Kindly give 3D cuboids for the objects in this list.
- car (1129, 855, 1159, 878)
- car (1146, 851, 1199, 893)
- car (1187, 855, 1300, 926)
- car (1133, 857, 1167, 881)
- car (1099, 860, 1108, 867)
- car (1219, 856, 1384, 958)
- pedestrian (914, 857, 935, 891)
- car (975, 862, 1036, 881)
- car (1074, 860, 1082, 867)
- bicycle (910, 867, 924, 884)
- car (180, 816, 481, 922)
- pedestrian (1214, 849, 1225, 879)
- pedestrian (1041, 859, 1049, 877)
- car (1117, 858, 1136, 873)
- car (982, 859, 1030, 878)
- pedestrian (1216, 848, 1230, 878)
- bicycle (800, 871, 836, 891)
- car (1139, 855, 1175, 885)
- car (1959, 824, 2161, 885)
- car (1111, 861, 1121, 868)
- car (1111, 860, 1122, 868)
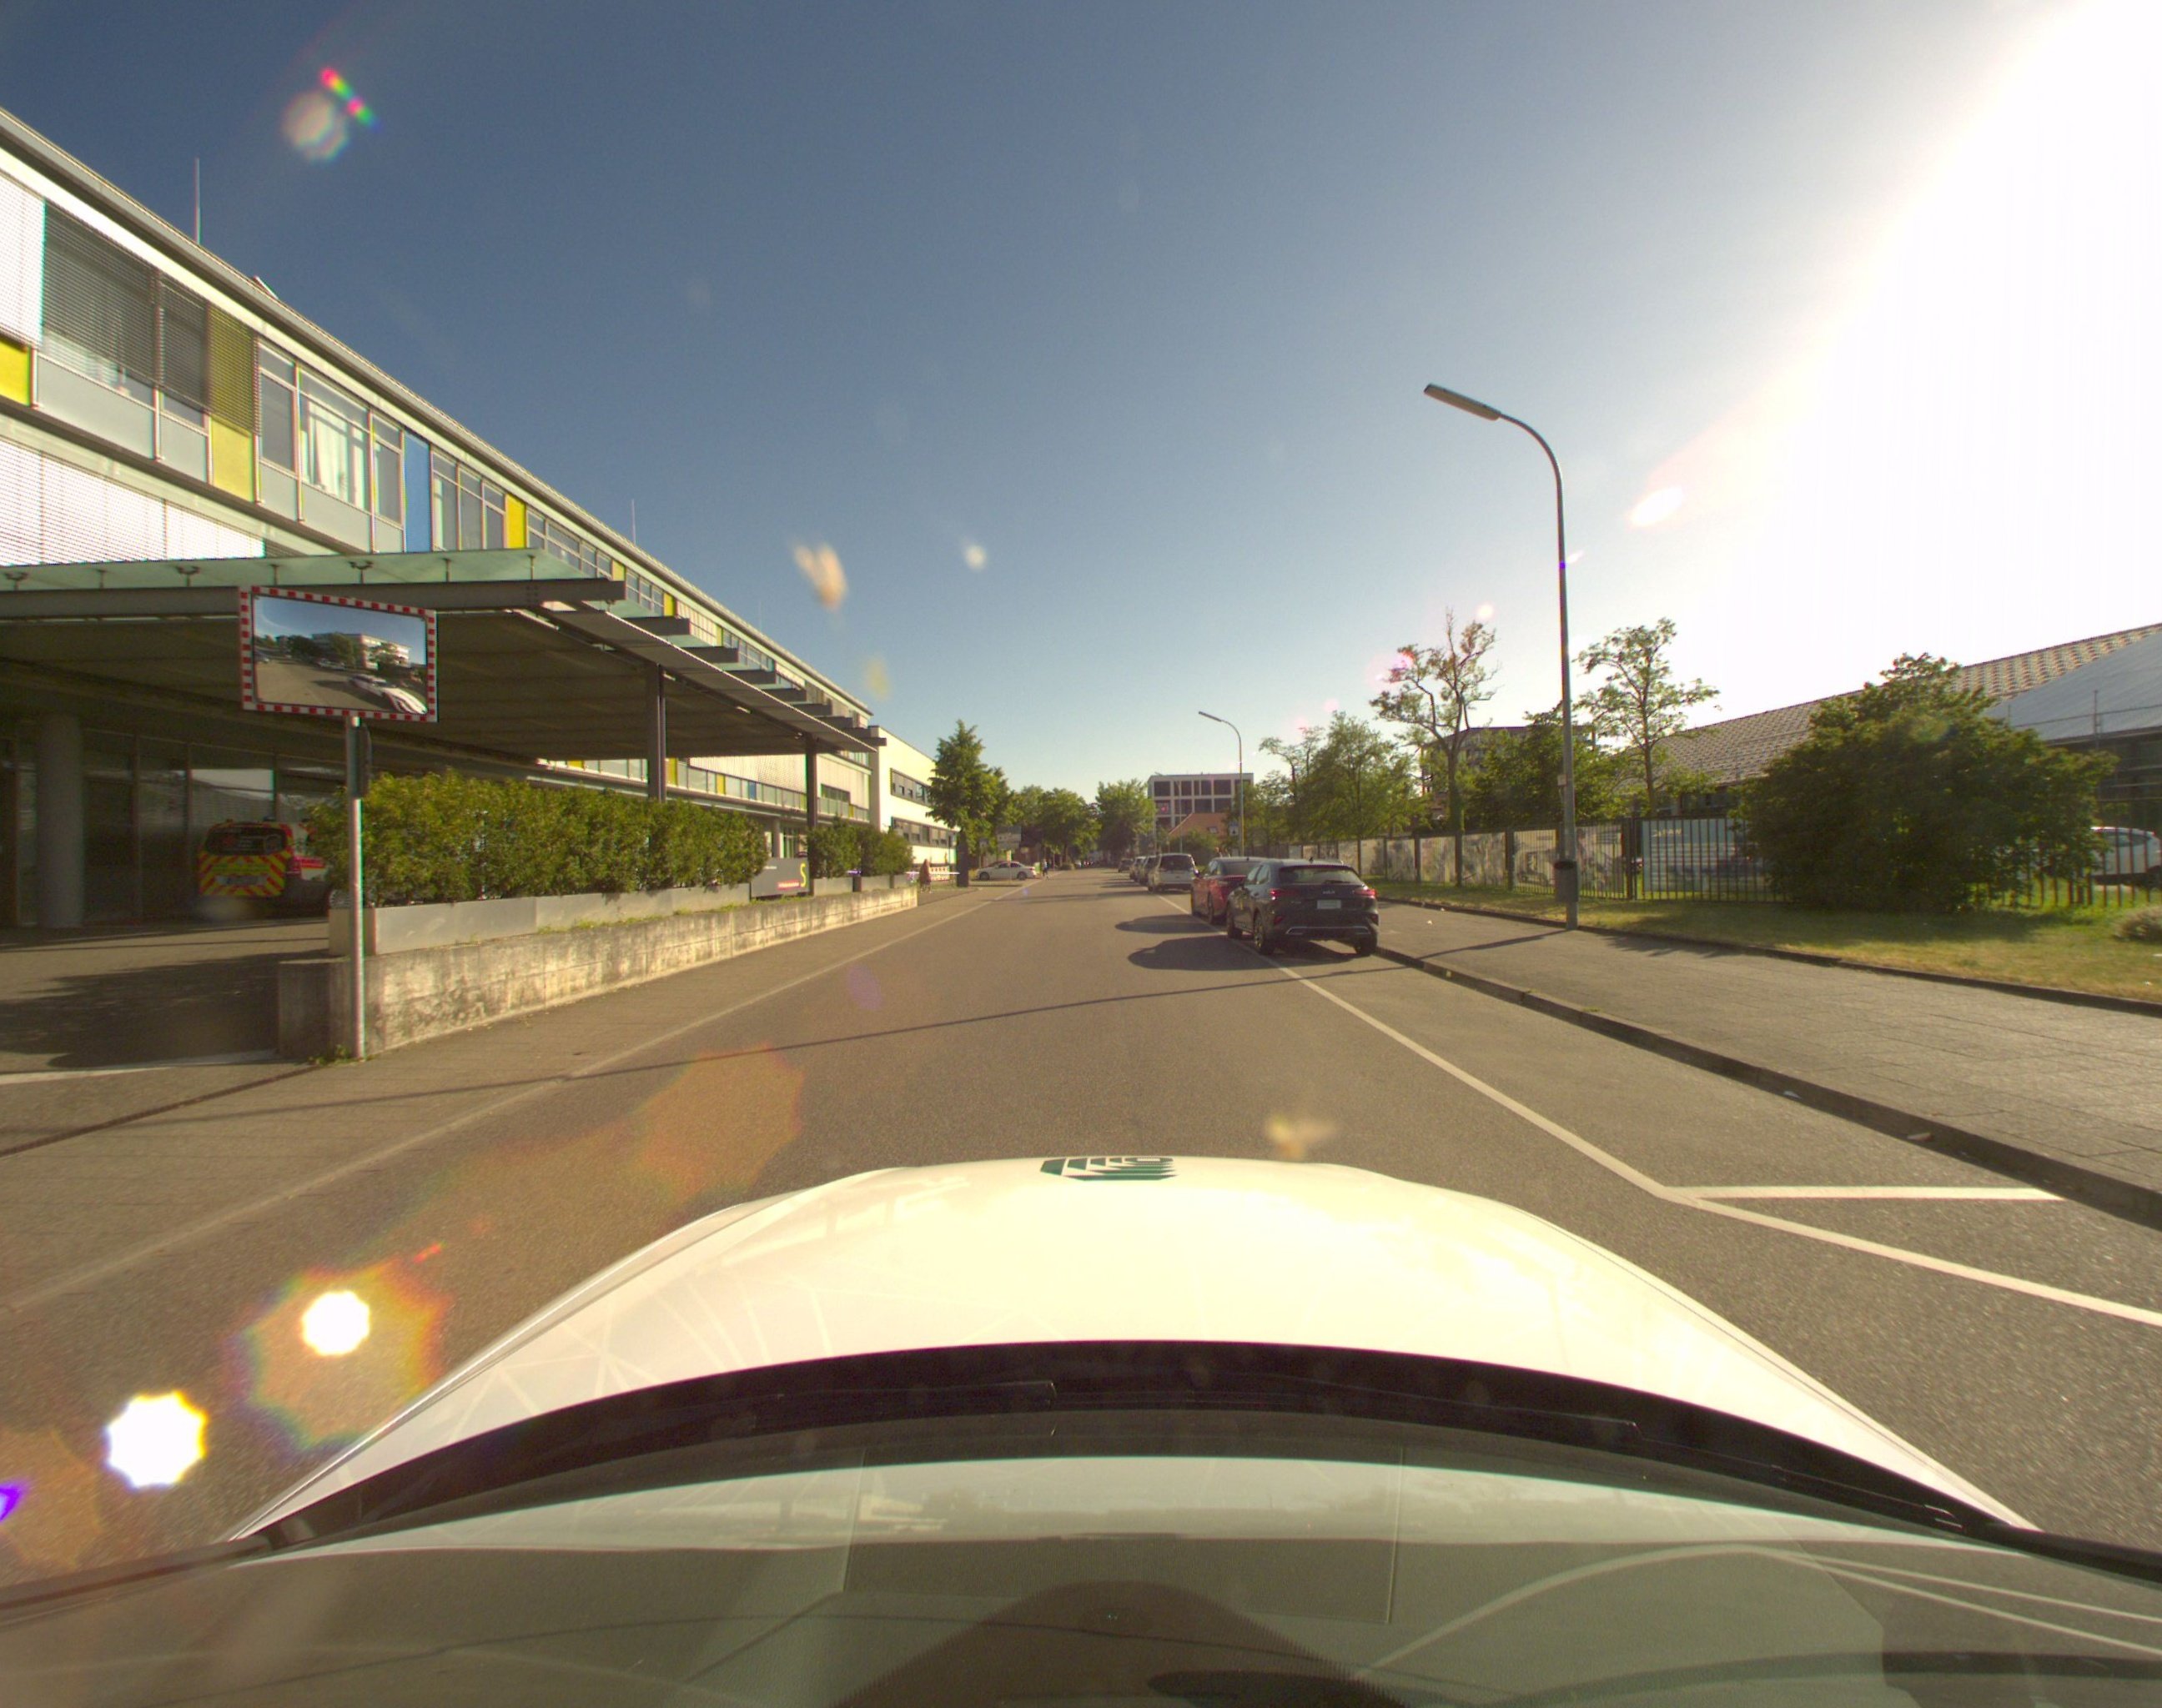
[{"bbox_3d":[4.535,0.906,59.002,1.807,1.588,4.260,0,0,-1],"label":"car"},{"bbox_3d":[3.984,0.748,36.110,1.803,1.722,4.703,0,0,0],"label":"car"},{"bbox_3d":[3.778,0.783,19.768,1.803,1.510,4.721,0,0,0],"label":"car"},{"bbox_3d":[4.308,0.906,51.287,1.696,1.487,3.977,0,0,-2],"label":"car"},{"bbox_3d":[4.620,1.939,166.968,1.761,1.548,4.065,-2,-1,0],"label":"car"},{"bbox_3d":[3.572,0.778,13.985,1.695,1.487,4.214,0,0,0],"label":"car"},{"bbox_3d":[-7.151,0.910,37.171,0.770,1.549,0.780,0,-1,1],"label":"pedestrian"},{"bbox_3d":[-5.666,1.297,61.561,4.503,1.367,1.697,1,-1,-5],"label":"car"},{"bbox_3d":[-0.633,2.118,187.958,1.761,1.487,3.999,-2,-1,0],"label":"car"},{"bbox_3d":[-11.157,1.458,55.507,0.533,1.111,1.860,-2,0,0],"label":"bicycle"},{"bbox_3d":[-15.464,0.279,17.252,1.913,1.891,4.711,-2,0,1],"label":"car"},{"bbox_3d":[7.757,0.559,45.638,0.520,1.708,0.522,0,-1,-2],"label":"pedestrian"},{"bbox_3d":[-3.029,1.154,68.627,0.536,1.524,0.607,-2,0,2],"label":"pedestrian"},{"bbox_3d":[4.824,1.172,86.662,1.811,1.453,4.216,-2,0,2],"label":"car"},{"bbox_3d":[-5.913,1.154,64.267,3.624,1.469,1.613,0,0,-2],"label":"car"},{"bbox_3d":[7.633,0.485,43.813,0.679,1.612,0.540,0,-1,-2],"label":"pedestrian"},{"bbox_3d":[-13.802,1.426,42.762,1.710,0.994,0.536,-2,-1,-1],"label":"bicycle"},{"bbox_3d":[4.186,0.851,45.427,1.694,1.606,4.354,0,0,1],"label":"car"},{"bbox_3d":[25.091,0.004,20.693,3.879,1.379,1.674,-2,0,-3],"label":"car"},{"bbox_3d":[7.600,2.252,176.902,1.943,1.578,3.838,-1,-1,2],"label":"car"},{"bbox_3d":[6.398,1.767,147.780,1.761,1.440,3.999,-2,-1,0],"label":"car"}]
